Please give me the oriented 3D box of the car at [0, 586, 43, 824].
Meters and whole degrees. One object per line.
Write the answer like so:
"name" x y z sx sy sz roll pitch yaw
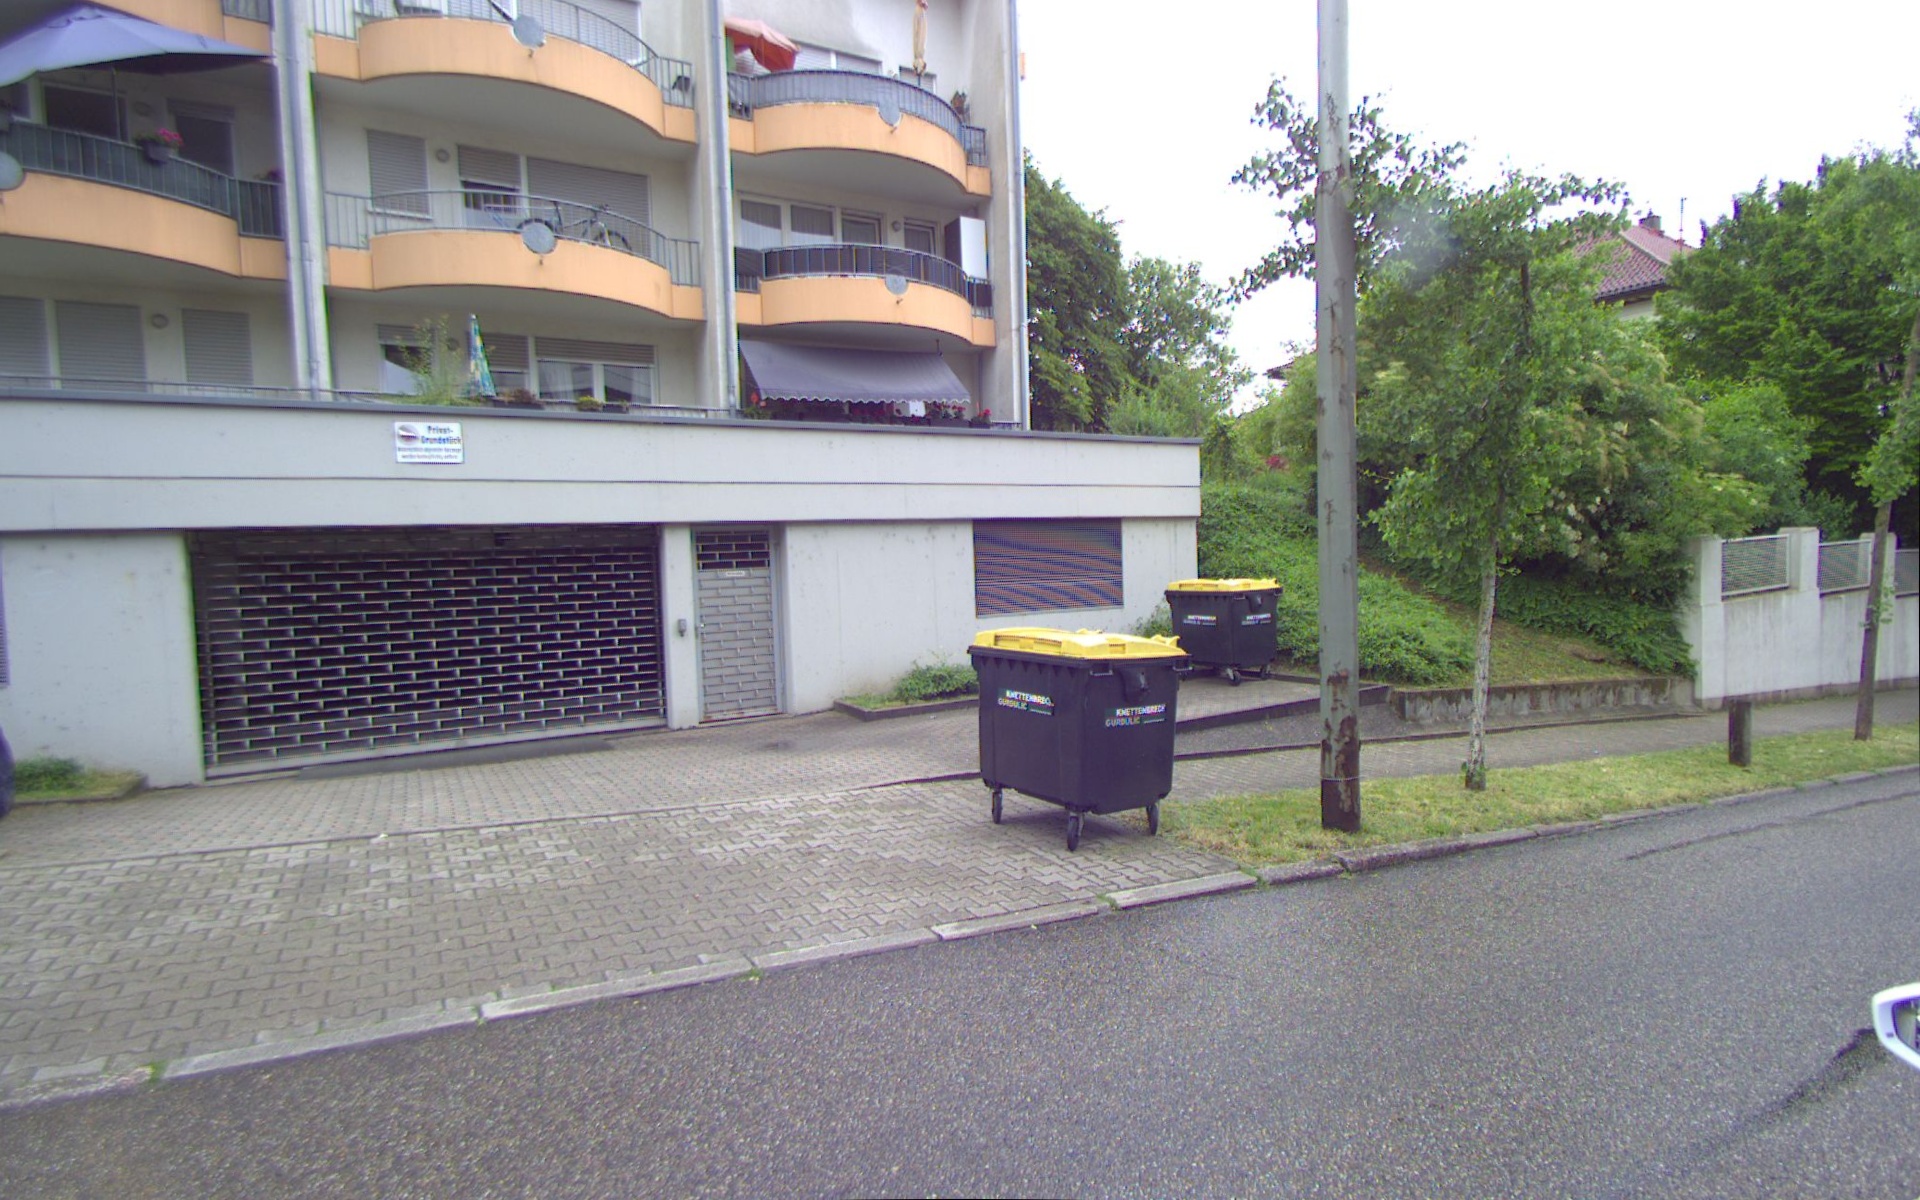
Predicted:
"car" -8.131 0.672 5.649 4.050 1.582 1.770 1 -4 -31

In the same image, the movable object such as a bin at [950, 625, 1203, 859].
"movable object such as a bin" 0.776 0.873 6.876 1.145 1.324 1.288 0 2 -38

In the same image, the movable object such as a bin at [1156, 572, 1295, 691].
"movable object such as a bin" 3.537 0.372 13.397 1.215 1.383 1.289 -7 6 -36
